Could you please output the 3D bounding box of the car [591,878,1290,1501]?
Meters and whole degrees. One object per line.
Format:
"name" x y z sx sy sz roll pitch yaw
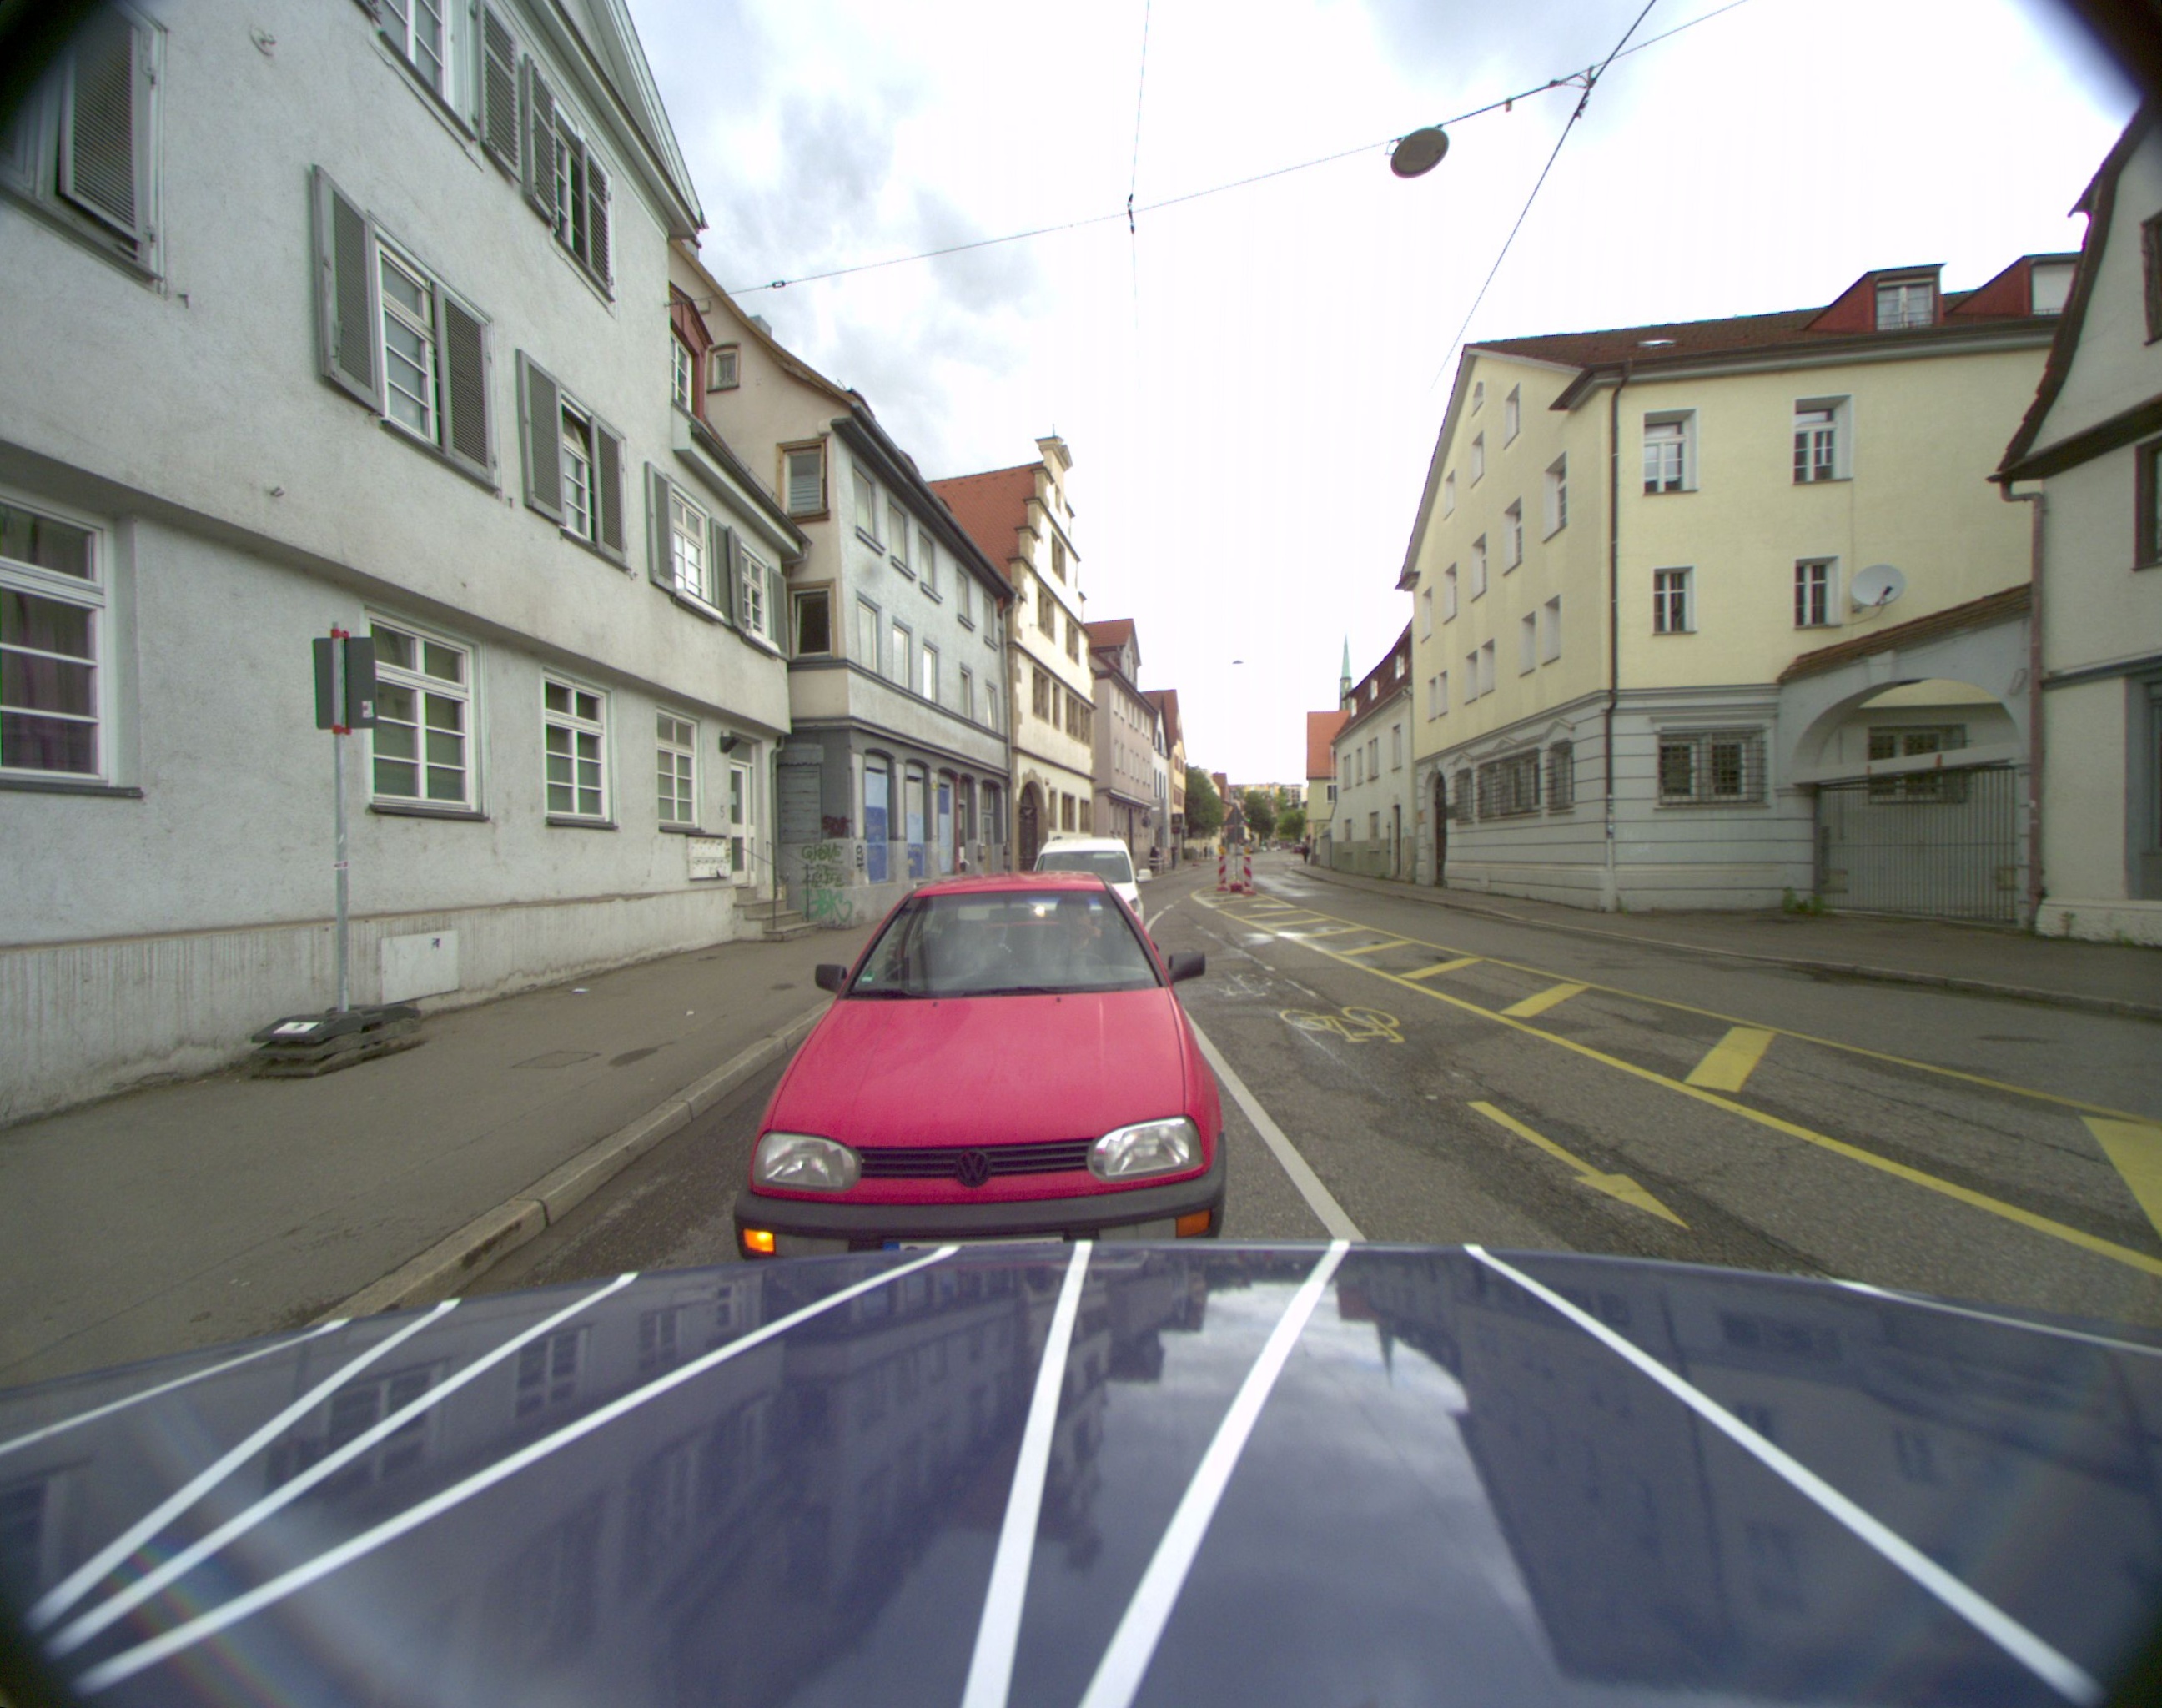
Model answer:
"car" -0.369 0.958 4.014 1.792 1.417 3.999 -2 1 0

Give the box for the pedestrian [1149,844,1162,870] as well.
"pedestrian" 4.531 0.183 46.114 0.725 1.604 0.649 -1 0 12

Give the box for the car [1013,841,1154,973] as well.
"car" 0.147 0.671 12.152 1.814 1.695 4.257 -2 1 3

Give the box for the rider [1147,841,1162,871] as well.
"rider" 4.494 0.124 46.299 0.719 1.837 0.798 -1 0 16

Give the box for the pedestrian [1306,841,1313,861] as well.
"pedestrian" 20.634 -0.238 68.626 0.592 1.769 0.505 -1 0 16
